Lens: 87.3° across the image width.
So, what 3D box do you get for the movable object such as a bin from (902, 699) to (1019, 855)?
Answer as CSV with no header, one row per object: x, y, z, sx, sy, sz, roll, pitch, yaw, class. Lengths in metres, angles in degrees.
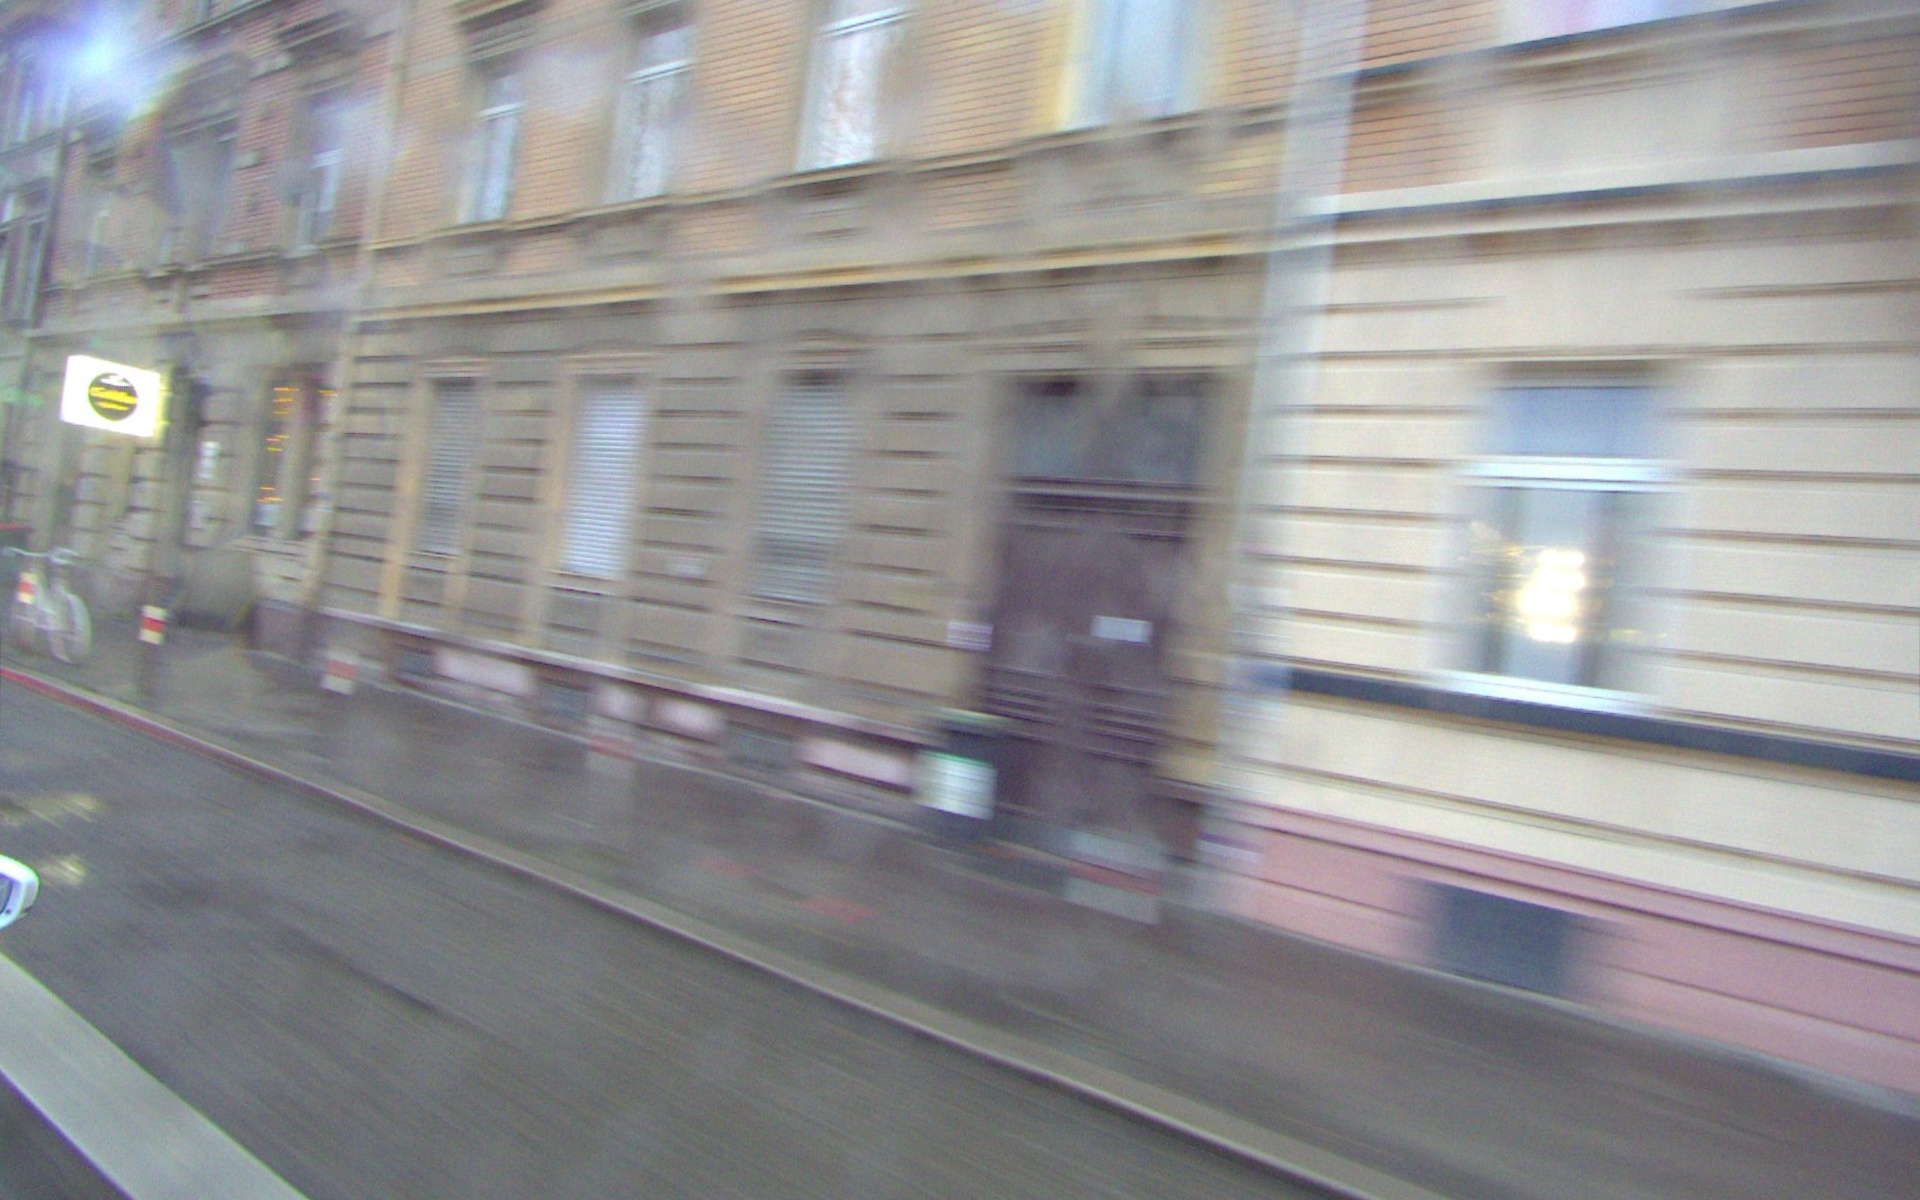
0.008,1.191,6.909,0.499,0.942,0.507,7,-1,30,movable object such as a bin

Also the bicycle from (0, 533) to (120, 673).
-9.195,-0.025,9.891,2.152,1.169,0.685,6,-2,32,bicycle

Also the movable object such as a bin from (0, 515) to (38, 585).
-15.807,-0.843,16.592,0.482,1.093,0.613,8,0,3,movable object such as a bin
